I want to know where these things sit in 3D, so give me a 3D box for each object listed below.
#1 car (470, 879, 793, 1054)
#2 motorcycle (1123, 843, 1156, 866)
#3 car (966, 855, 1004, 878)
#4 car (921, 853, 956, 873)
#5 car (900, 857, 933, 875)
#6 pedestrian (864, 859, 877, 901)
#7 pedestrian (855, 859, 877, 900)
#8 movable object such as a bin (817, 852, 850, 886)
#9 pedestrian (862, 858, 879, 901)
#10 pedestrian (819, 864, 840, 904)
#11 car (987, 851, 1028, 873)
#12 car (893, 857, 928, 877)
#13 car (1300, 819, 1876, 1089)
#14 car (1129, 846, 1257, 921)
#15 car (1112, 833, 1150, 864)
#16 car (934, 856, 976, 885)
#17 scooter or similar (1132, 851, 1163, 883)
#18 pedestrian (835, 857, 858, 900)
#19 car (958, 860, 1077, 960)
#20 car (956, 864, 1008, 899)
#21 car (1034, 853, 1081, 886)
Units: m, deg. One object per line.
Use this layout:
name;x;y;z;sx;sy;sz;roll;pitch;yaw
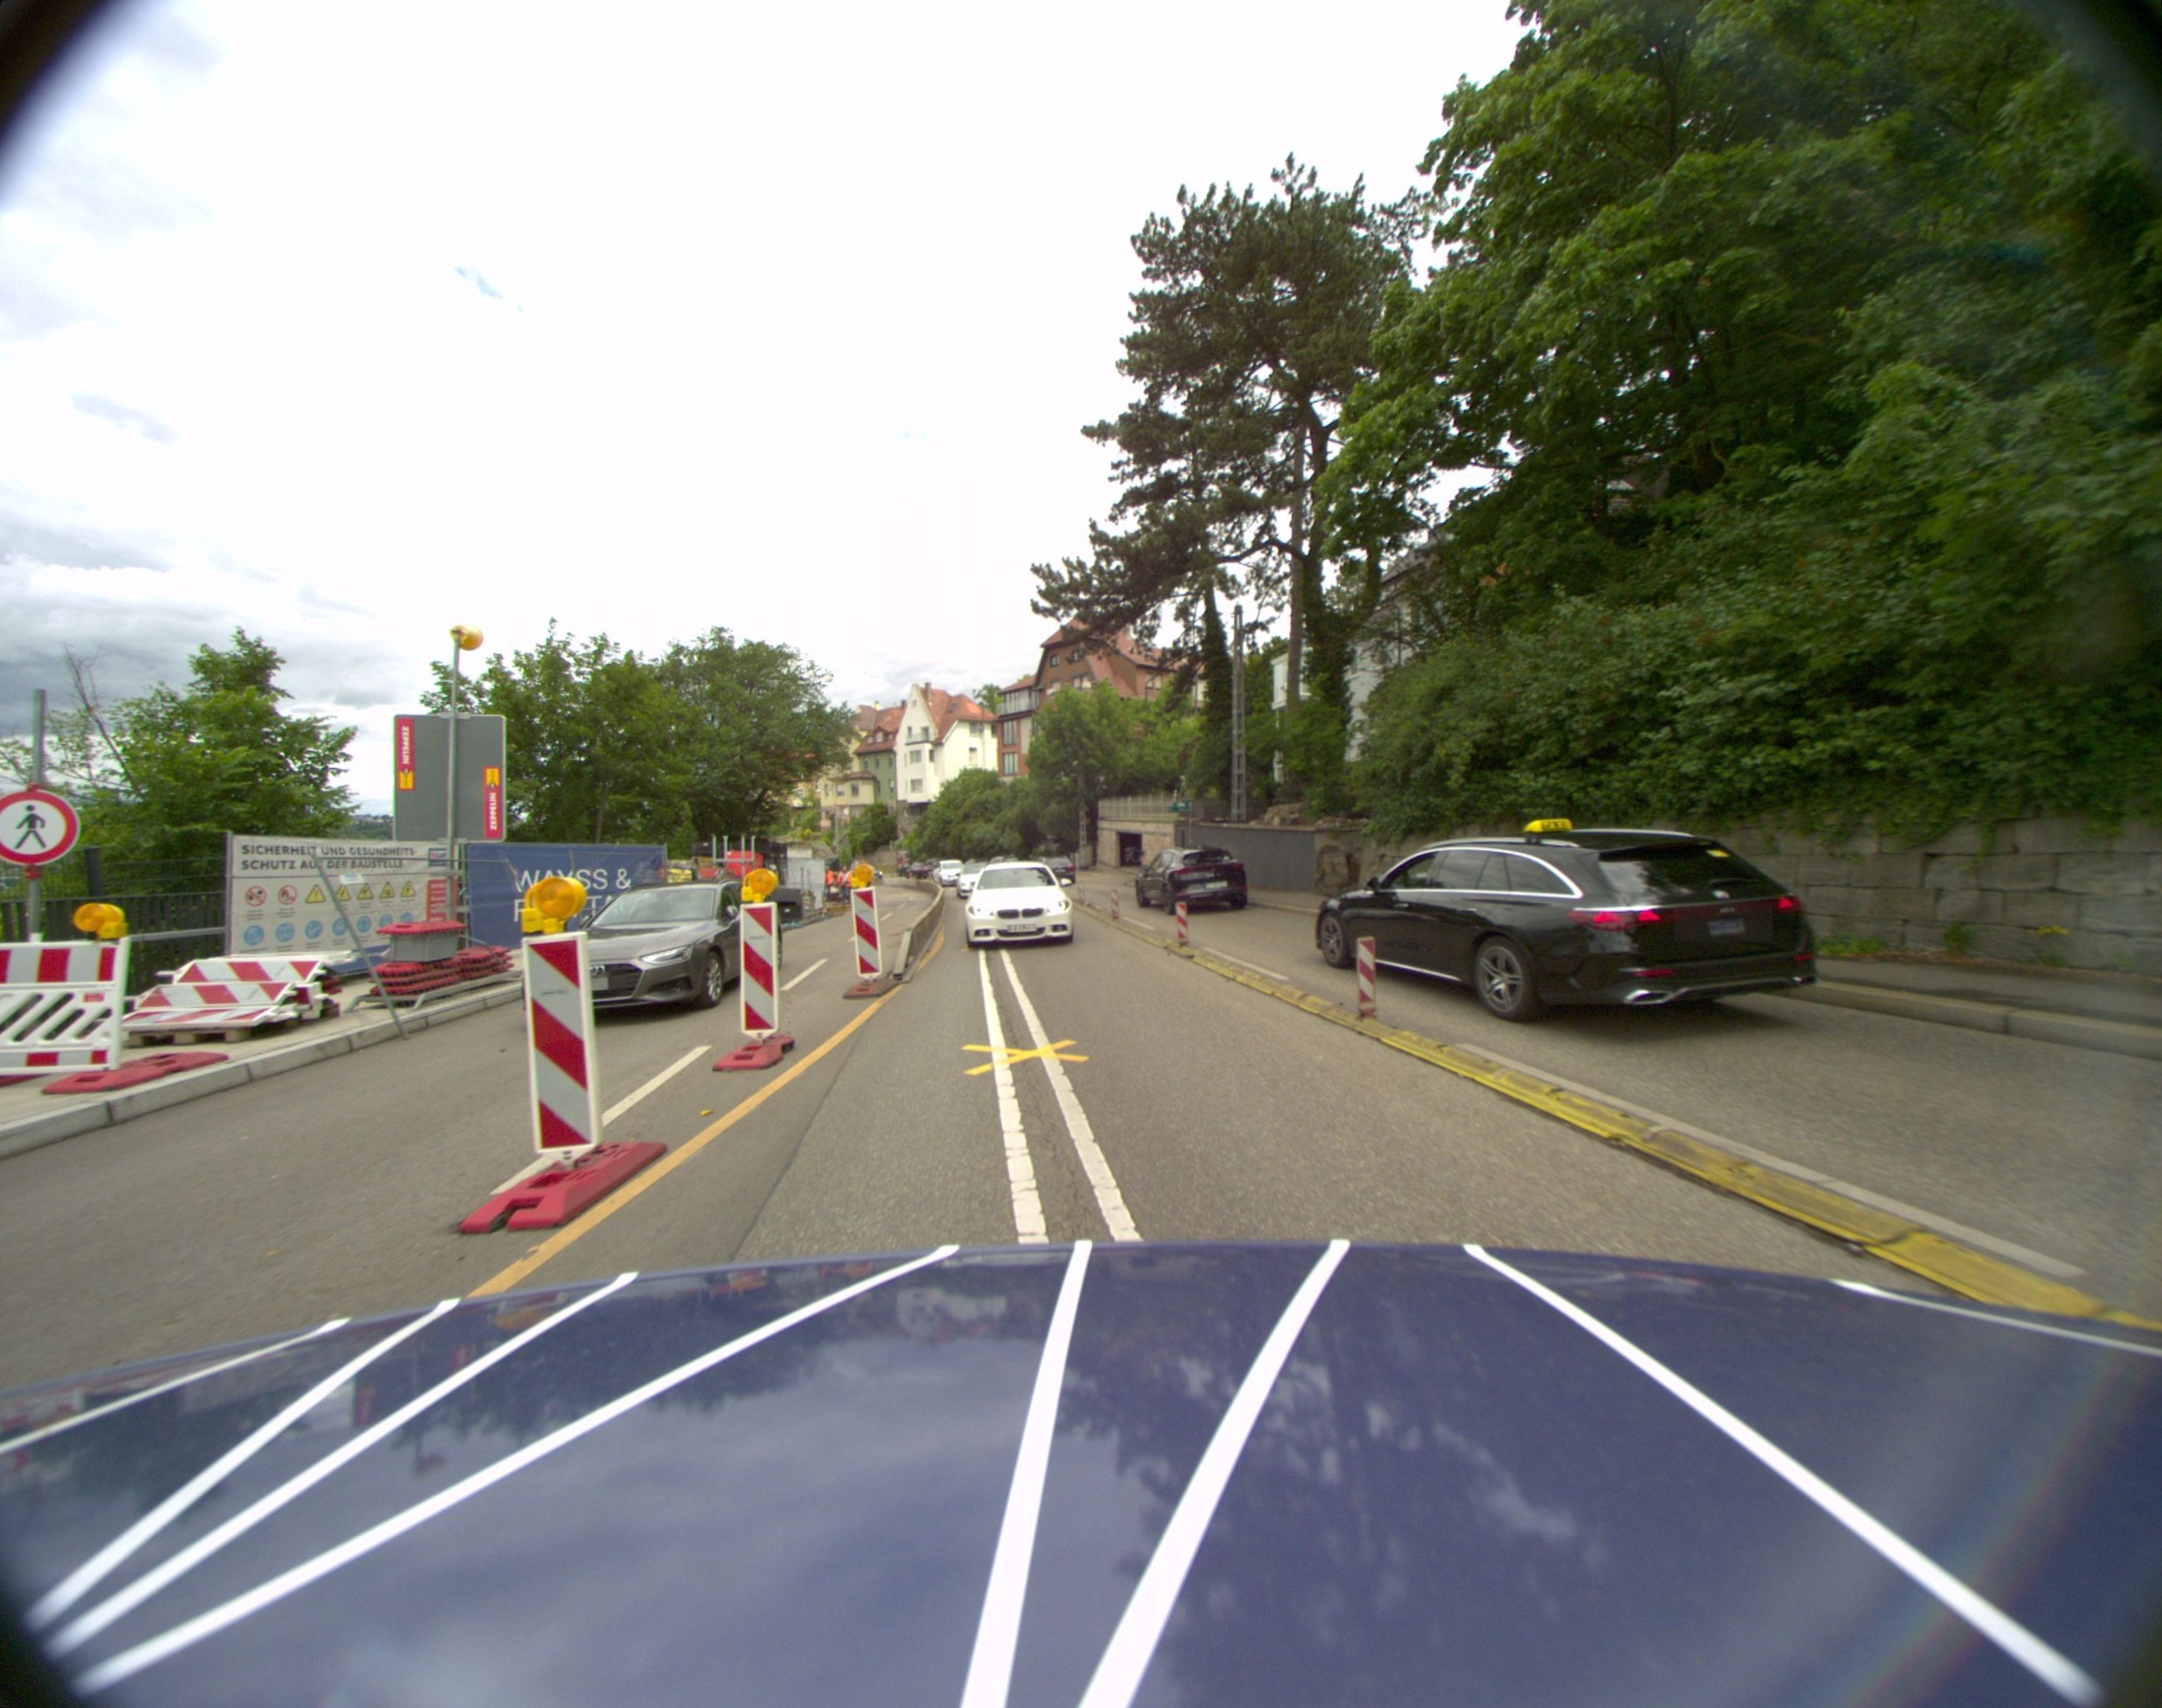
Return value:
car;-5.241;1.167;9.727;1.846;1.447;4.624;-3;0;-8
motorcycle;3.491;0.017;45.623;1.844;1.177;0.636;-4;5;-5
car;-7.138;0.929;55.985;1.765;1.520;3.904;-5;1;-21
car;-13.494;0.892;71.620;1.772;1.587;3.783;-9;3;-32
car;-16.427;1.211;75.841;1.685;1.409;3.782;-9;3;-36
pedestrian;-9.445;1.152;34.079;0.527;1.832;0.795;0;0;-20
pedestrian;-9.978;1.188;35.216;0.717;1.873;0.620;-4;-3;41
movable object such as a bin;-20.382;1.249;62.484;1.867;2.580;3.433;-5;1;-28
pedestrian;-9.198;1.100;33.145;0.641;1.848;0.833;0;0;-20
pedestrian;-11.576;1.388;34.964;0.648;1.784;0.642;-6;3;-34
car;-5.660;0.632;58.016;1.826;1.426;3.708;-8;2;-25
car;-15.976;1.243;71.000;1.772;1.587;3.783;-9;3;-32
car;3.985;0.621;7.194;1.837;1.583;4.651;-4;1;-8
car;2.556;0.632;18.488;1.834;1.476;4.315;-4;1;-8
car;3.090;-0.356;47.767;1.573;1.596;3.582;-4;5;-9
car;-7.844;0.984;47.003;1.888;1.569;3.994;-4;1;-18
scooter or similar;2.750;0.514;31.300;1.217;1.225;0.493;-5;1;-42
pedestrian;-10.818;1.141;35.056;0.732;1.880;0.618;-6;0;-27
car;-1.120;0.947;15.013;1.853;1.458;4.877;-4;1;-2
car;-4.283;1.119;32.298;1.799;1.299;4.096;-3;0;-12
car;-1.268;0.741;38.754;1.797;1.456;4.506;-4;0;-9
